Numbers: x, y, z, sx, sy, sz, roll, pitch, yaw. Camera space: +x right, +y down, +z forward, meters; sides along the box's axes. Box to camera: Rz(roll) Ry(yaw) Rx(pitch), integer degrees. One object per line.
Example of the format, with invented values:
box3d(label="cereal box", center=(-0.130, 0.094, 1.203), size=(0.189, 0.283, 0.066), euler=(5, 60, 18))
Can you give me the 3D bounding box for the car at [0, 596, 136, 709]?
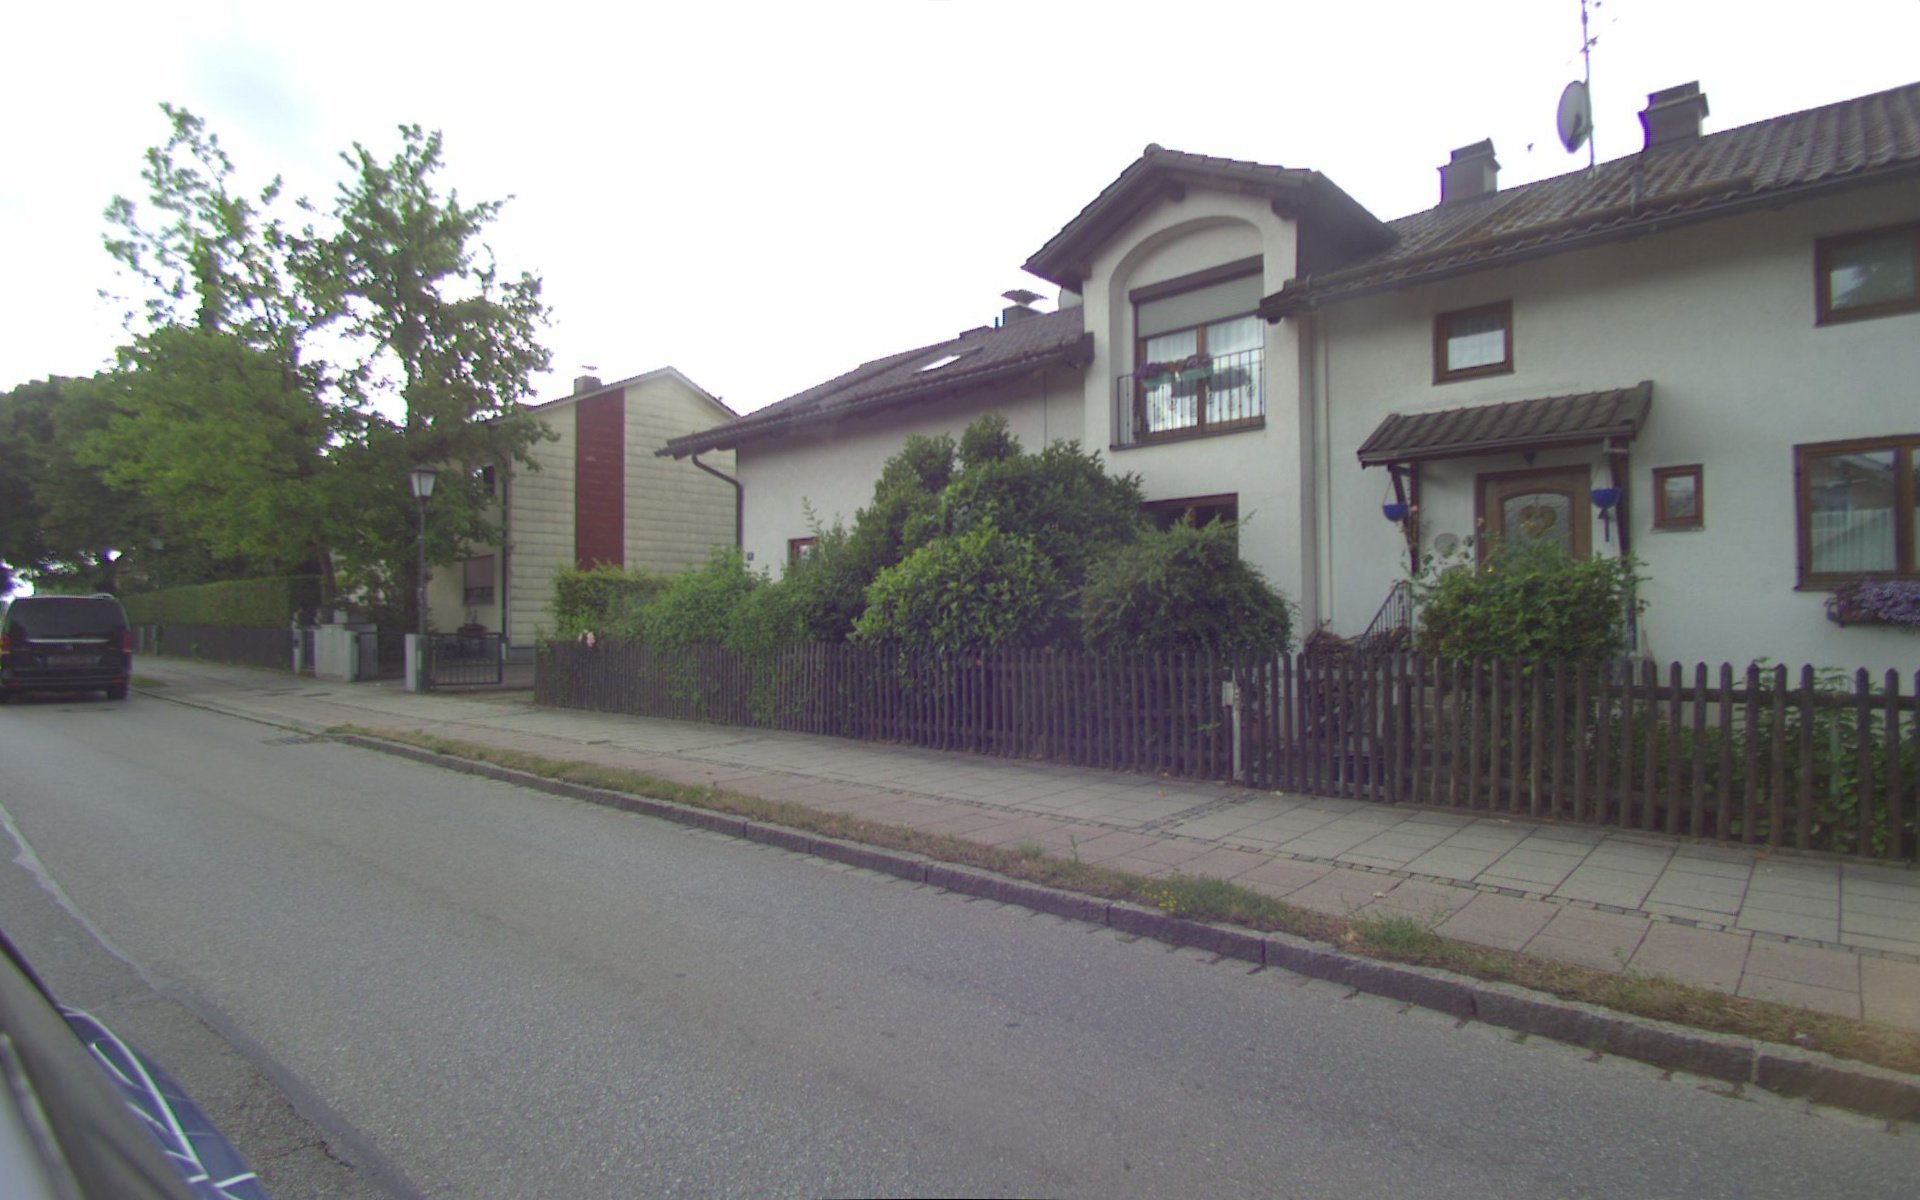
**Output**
box3d(label="car", center=(-17.146, 0.911, 18.929), size=(4.946, 1.867, 1.944), euler=(-1, -2, 42))
